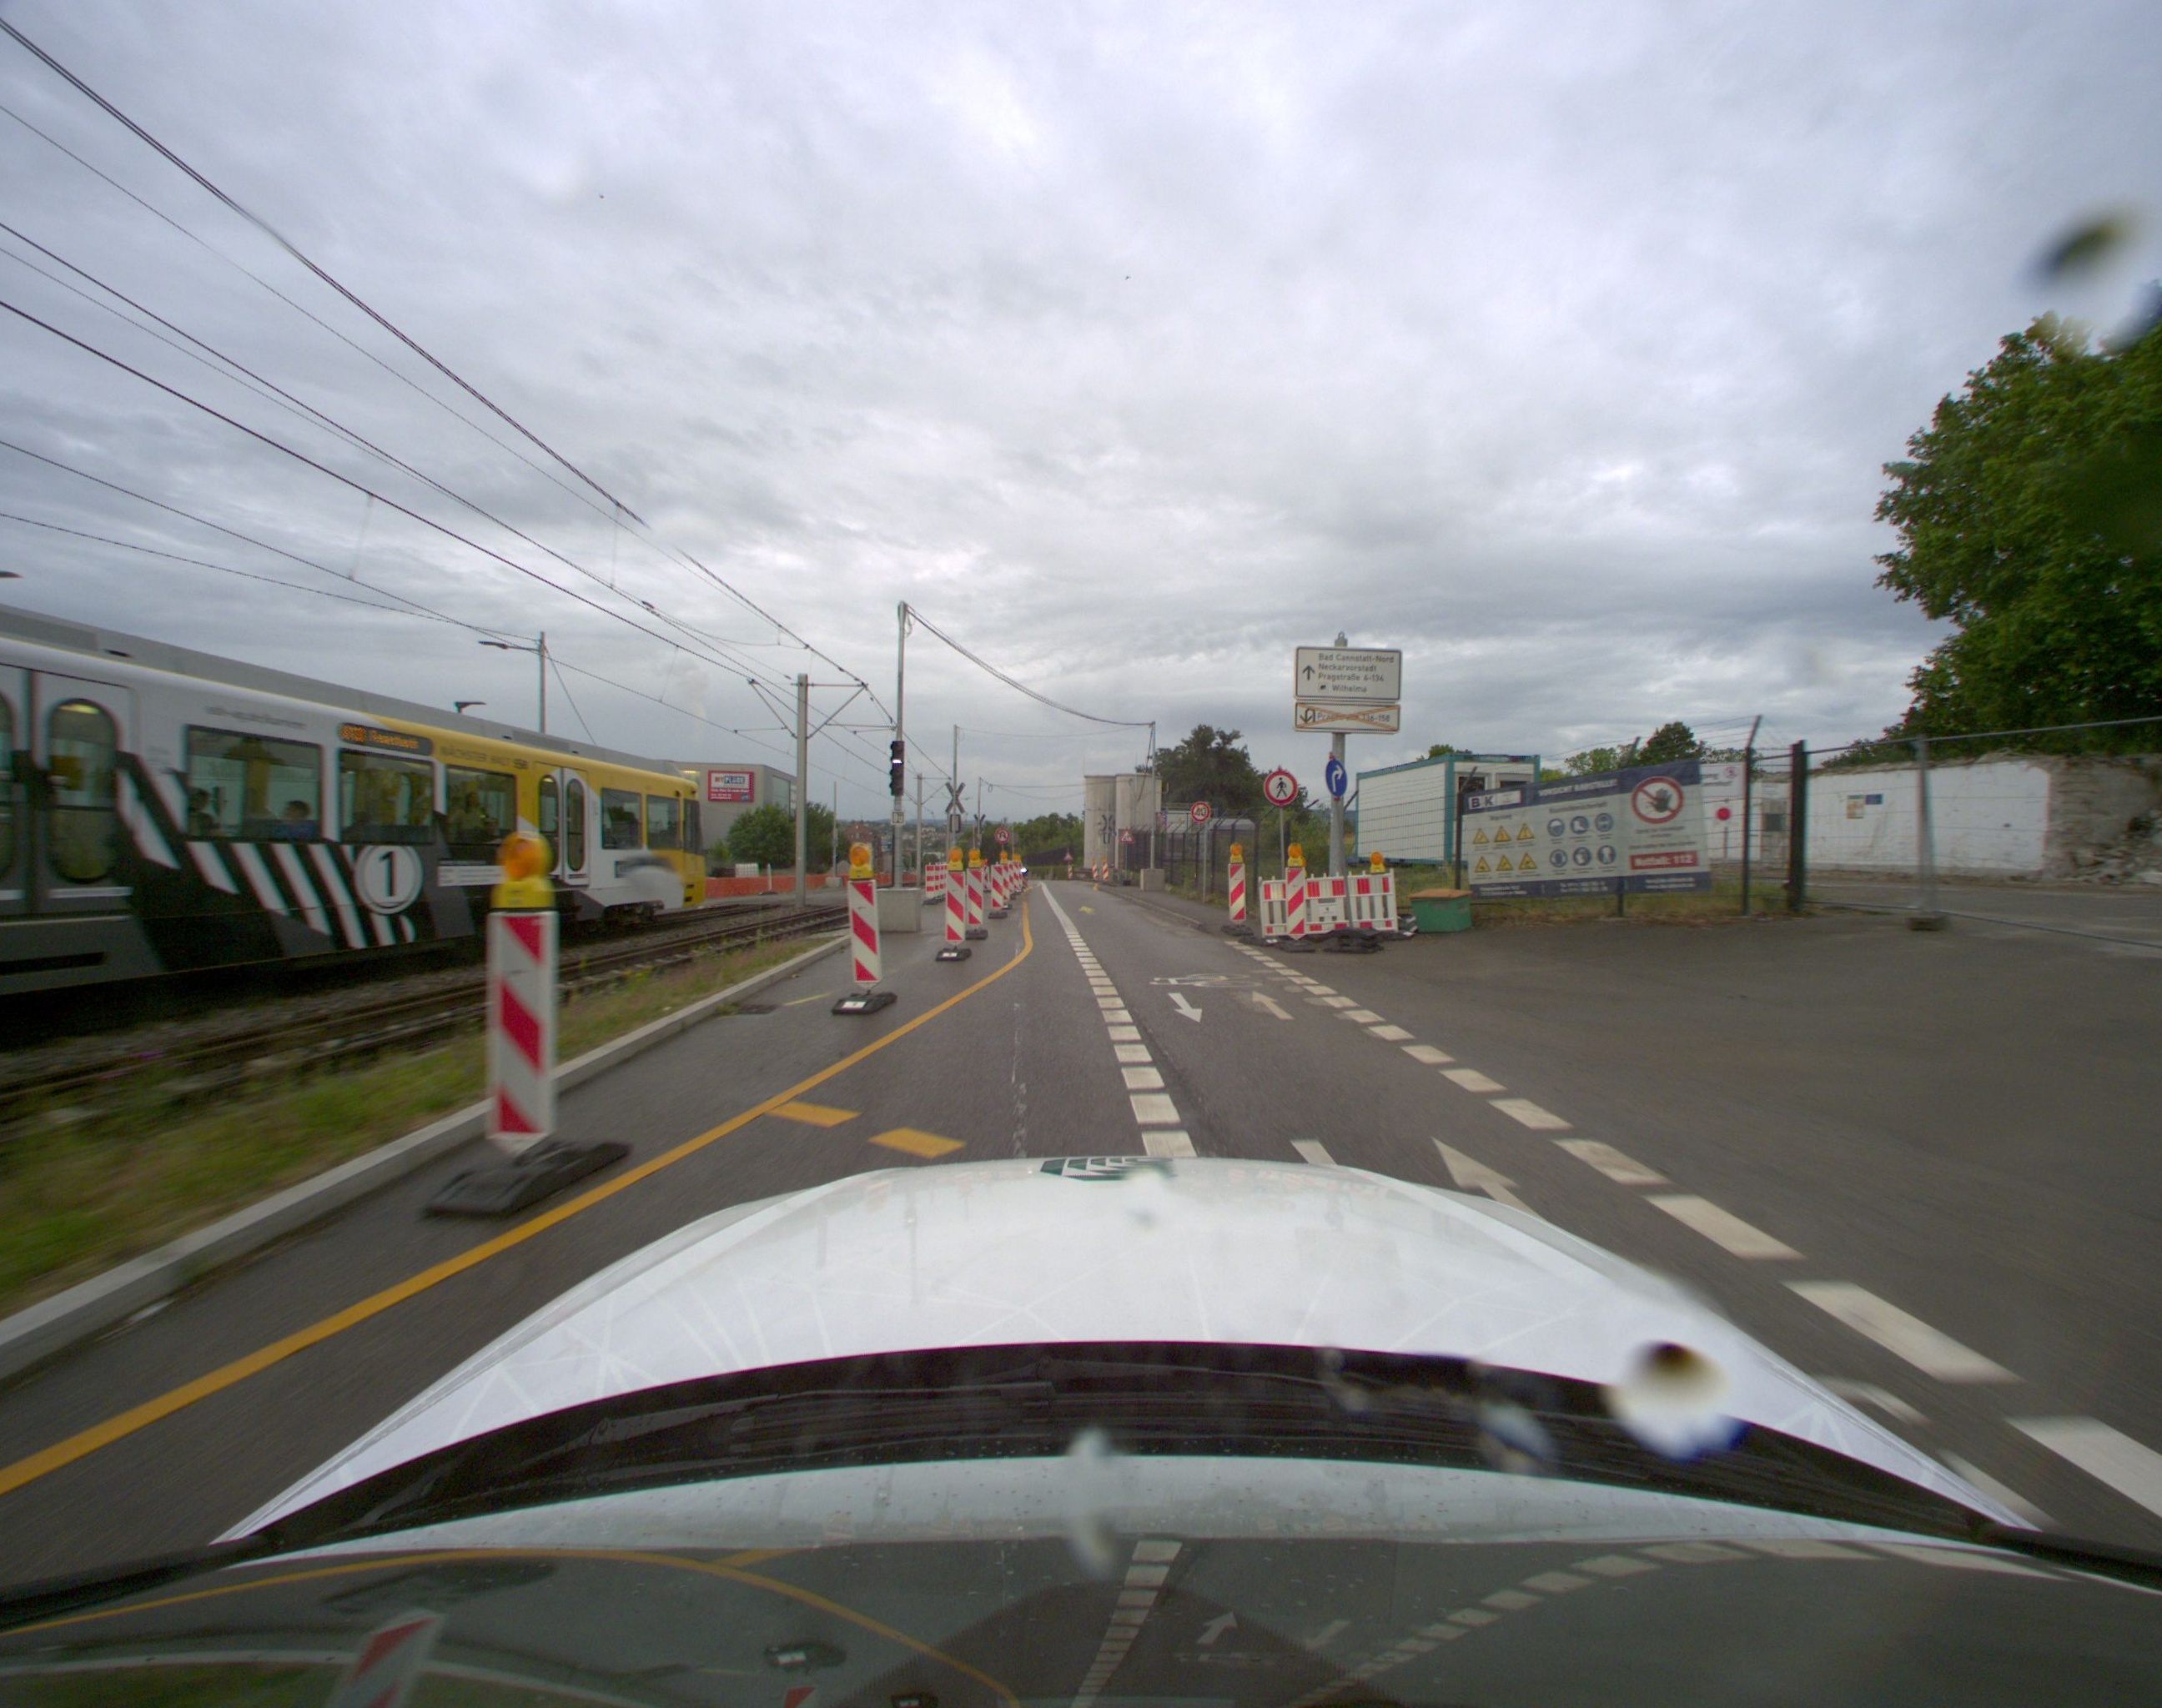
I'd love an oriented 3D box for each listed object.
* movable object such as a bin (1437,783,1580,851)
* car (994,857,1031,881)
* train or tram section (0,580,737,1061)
[{"bbox_3d":[39.288,-3.284,75.215,11.172,5.995,3.497,0,-1,6],"label":"movable object such as a bin"},{"bbox_3d":[-4.996,1.060,58.904,1.996,1.678,4.466,0,-1,-14],"label":"car"},{"bbox_3d":[-10.267,-0.299,11.288,2.946,3.886,19.282,2,0,-1],"label":"train or tram section"}]
